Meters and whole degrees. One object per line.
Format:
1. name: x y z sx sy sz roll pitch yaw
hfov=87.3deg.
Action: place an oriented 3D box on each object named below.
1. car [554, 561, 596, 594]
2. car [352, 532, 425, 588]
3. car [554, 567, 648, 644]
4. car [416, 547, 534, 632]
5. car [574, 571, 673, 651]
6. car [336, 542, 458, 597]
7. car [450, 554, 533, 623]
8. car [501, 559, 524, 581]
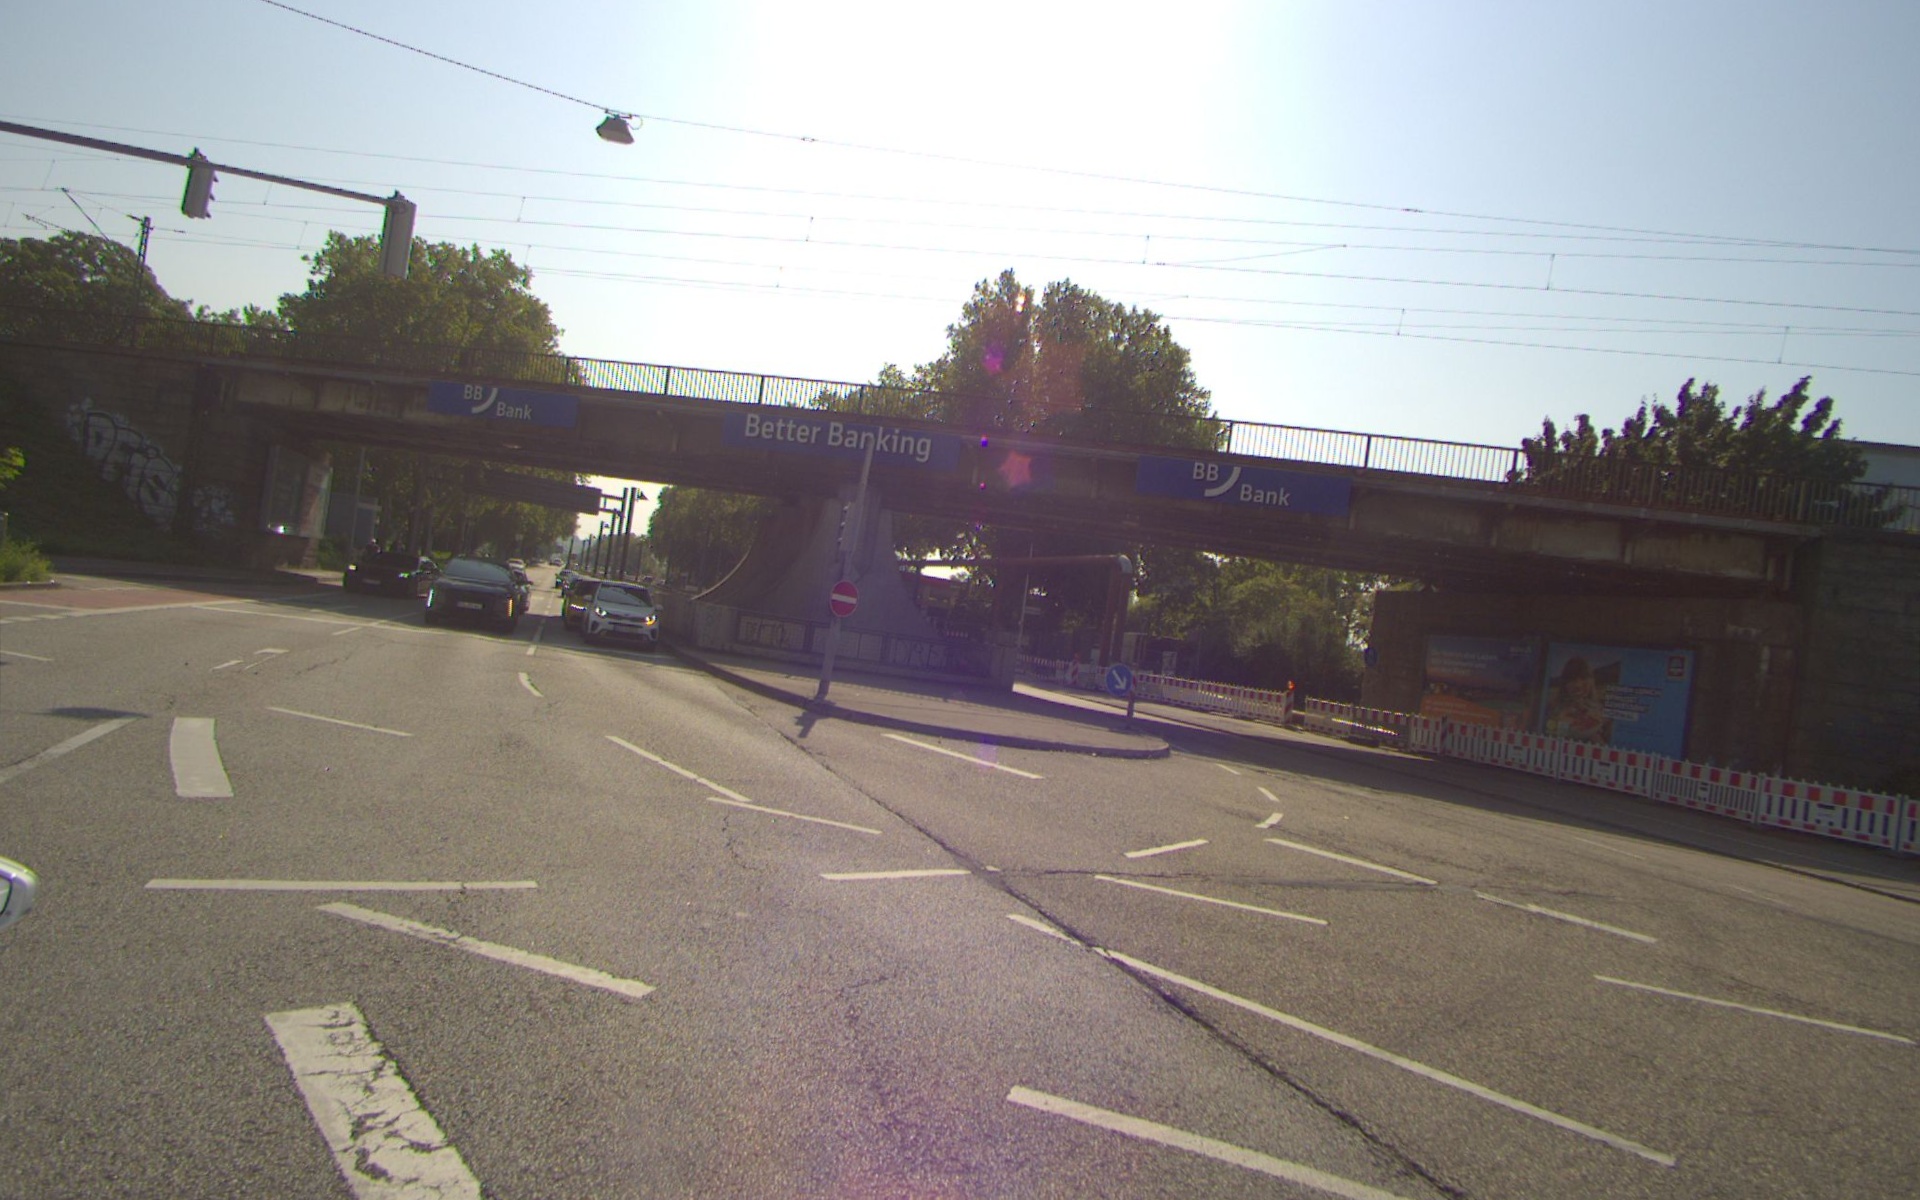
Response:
1. car: -22.269 -1.335 58.111 1.836 1.500 4.160 9 -1 -25
2. car: -23.768 -1.662 42.010 1.977 1.868 3.977 11 -2 -24
3. car: -10.340 0.109 28.759 1.977 1.592 4.318 10 0 -25
4. car: -11.507 -0.250 24.166 1.881 1.636 4.456 7 -1 -19
5. car: -8.210 0.223 24.359 1.706 1.556 3.673 8 -1 -25
6. car: -18.548 -0.979 33.401 1.966 1.481 4.877 6 0 -11
7. car: -14.290 -0.406 30.753 1.977 1.539 4.318 10 0 -25
8. car: -48.626 -3.295 109.281 1.977 2.035 3.977 11 -2 -24
